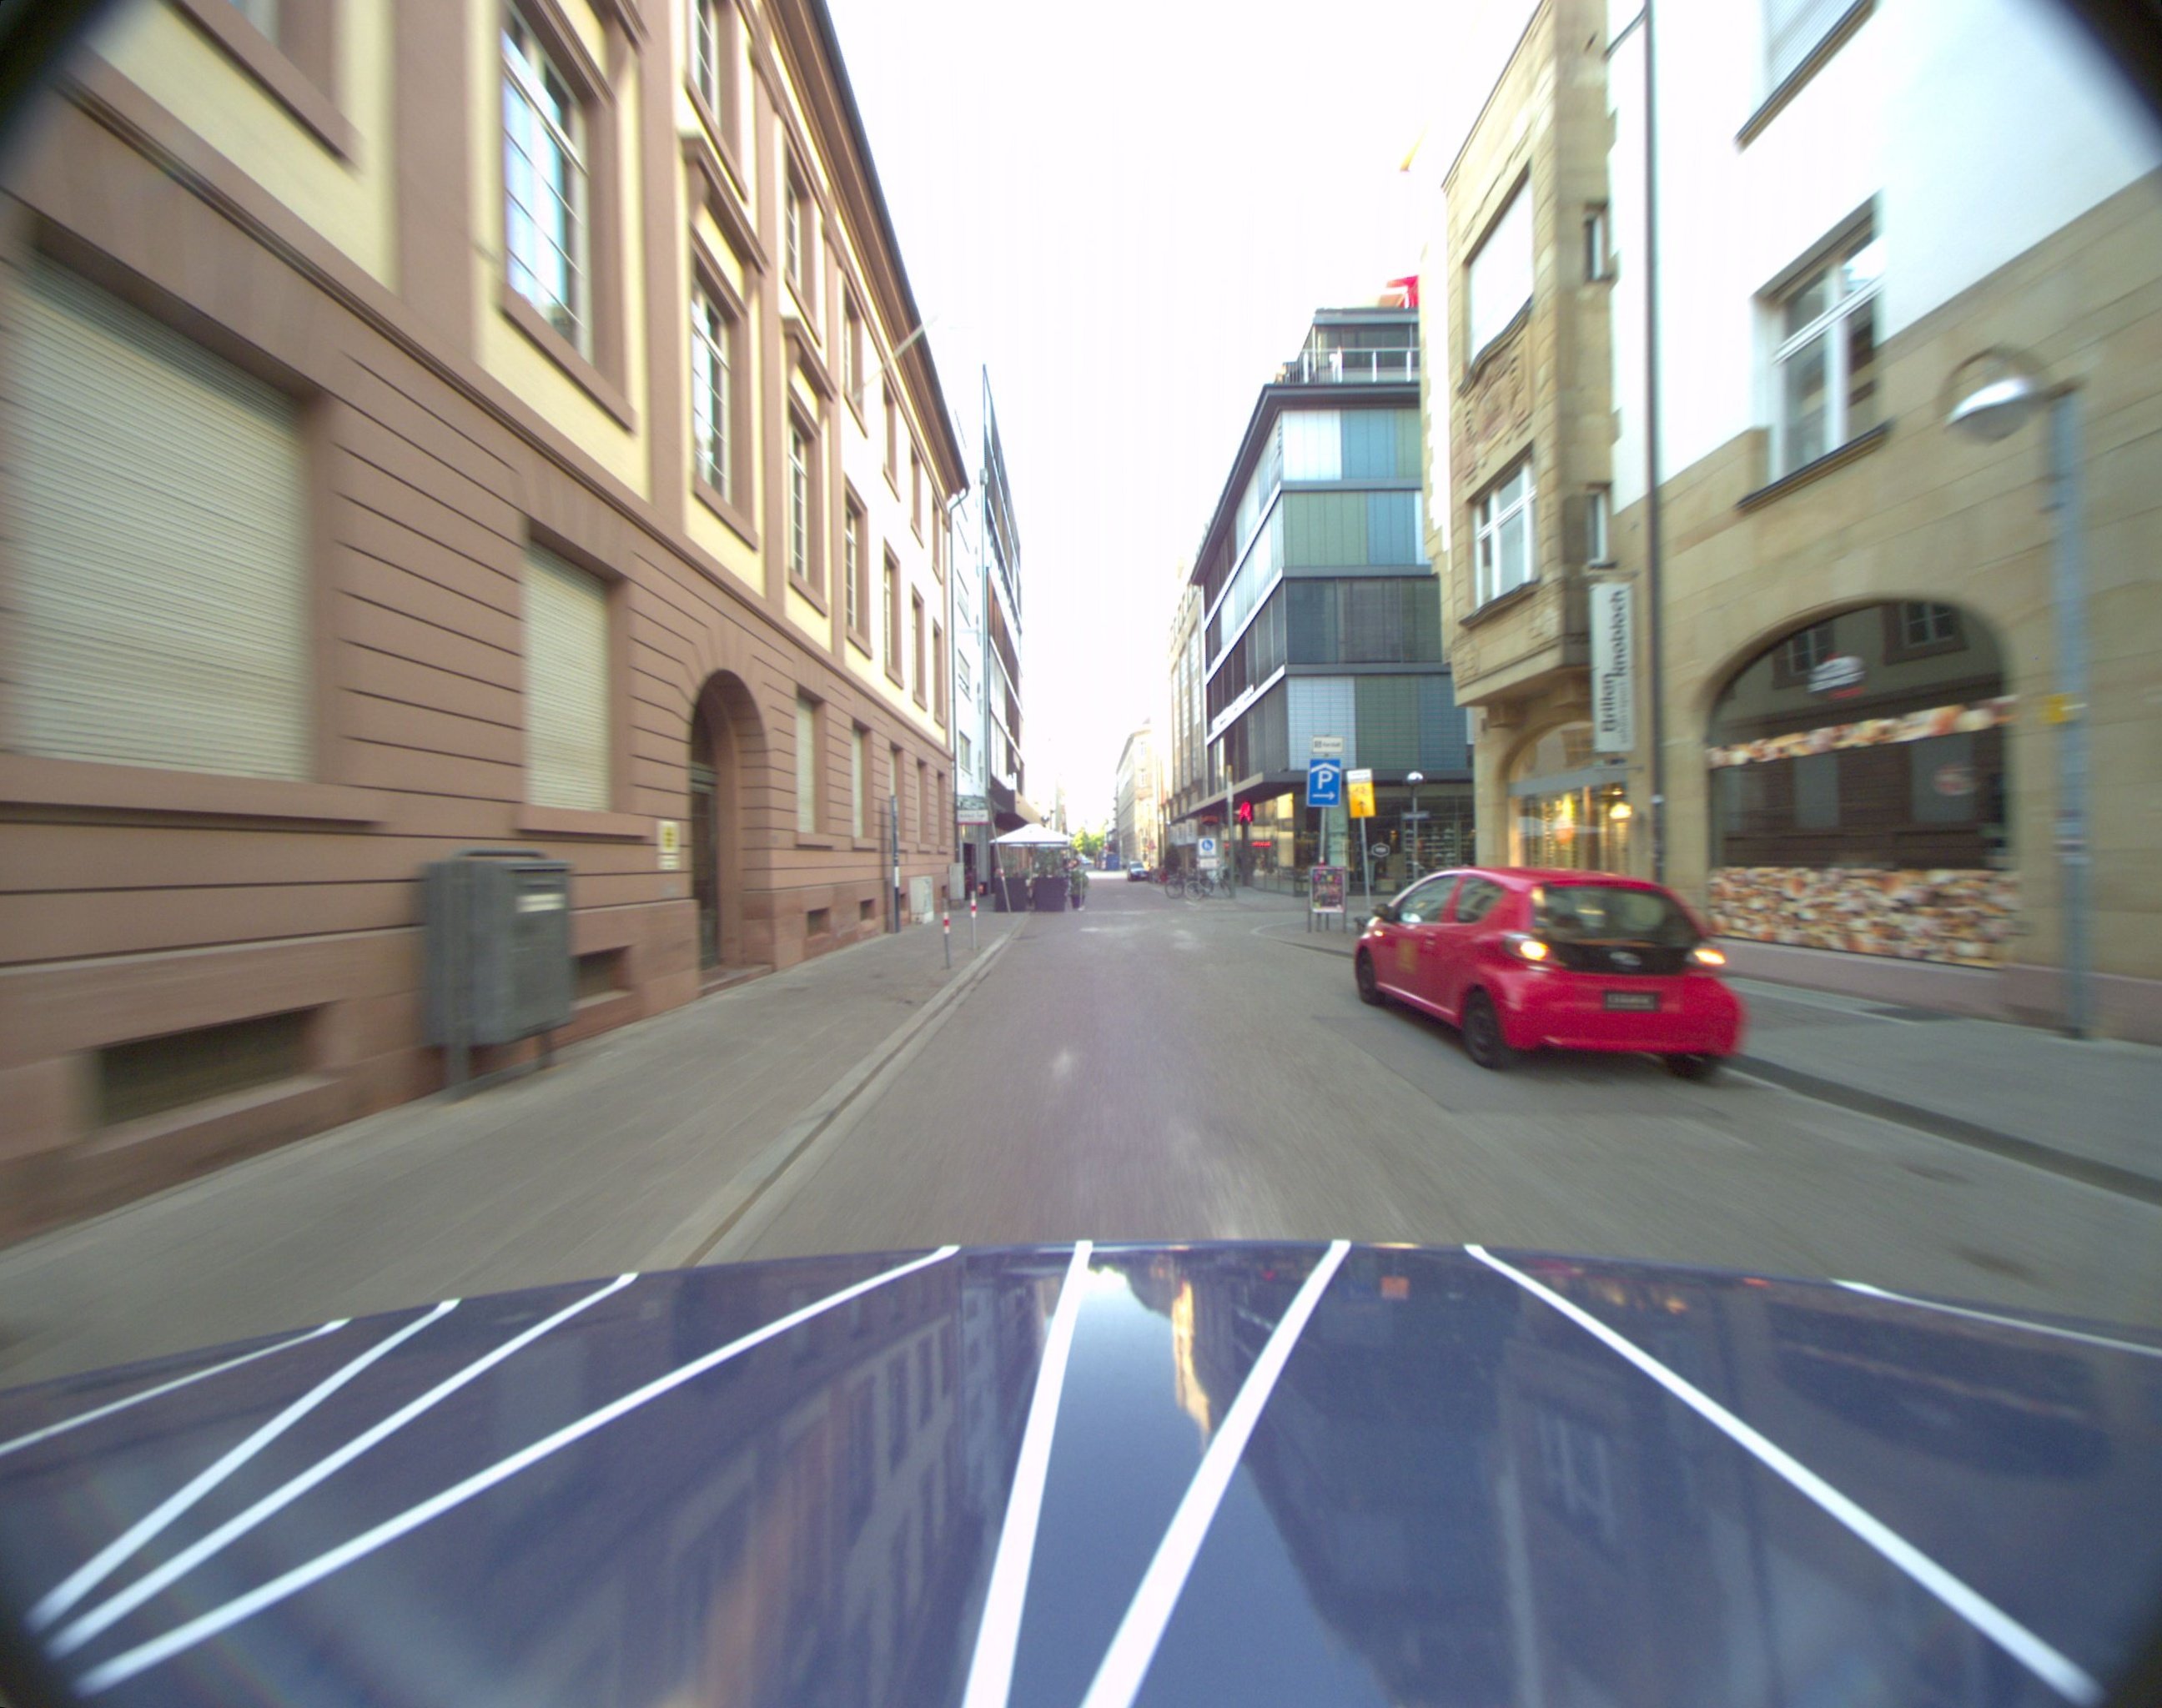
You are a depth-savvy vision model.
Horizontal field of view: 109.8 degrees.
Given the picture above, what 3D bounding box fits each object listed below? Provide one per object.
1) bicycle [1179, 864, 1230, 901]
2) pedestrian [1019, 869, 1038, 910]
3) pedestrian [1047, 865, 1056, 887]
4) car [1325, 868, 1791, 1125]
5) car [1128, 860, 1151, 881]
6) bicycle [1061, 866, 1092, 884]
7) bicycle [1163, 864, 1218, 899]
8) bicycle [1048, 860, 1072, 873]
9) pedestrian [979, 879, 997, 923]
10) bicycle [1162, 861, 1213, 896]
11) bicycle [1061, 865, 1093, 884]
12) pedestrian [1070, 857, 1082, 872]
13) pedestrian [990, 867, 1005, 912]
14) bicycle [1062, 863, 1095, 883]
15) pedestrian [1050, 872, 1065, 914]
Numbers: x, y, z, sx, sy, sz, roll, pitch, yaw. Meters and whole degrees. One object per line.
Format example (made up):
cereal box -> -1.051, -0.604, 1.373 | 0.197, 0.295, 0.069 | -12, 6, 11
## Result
bicycle -> 4.369, 0.996, 26.872 | 1.670, 1.197, 0.509 | -3, 0, 0
pedestrian -> -1.853, 1.259, 27.141 | 0.575, 1.411, 0.868 | -1, 0, 1
pedestrian -> -2.847, 2.099, 72.958 | 0.805, 2.002, 0.878 | -2, 0, -7
car -> 3.611, 0.928, 6.725 | 1.661, 1.461, 3.932 | 1, 1, 1
car -> 4.246, 1.158, 55.294 | 1.602, 1.414, 3.605 | -1, 0, 4
bicycle -> -0.283, 1.376, 50.199 | 2.038, 1.161, 0.619 | -1, 0, -1
bicycle -> 4.082, 1.040, 28.382 | 1.902, 1.174, 0.517 | -4, -1, -1
bicycle -> -2.164, 1.269, 78.070 | 2.341, 1.182, 0.517 | -2, 0, -16
pedestrian -> -3.807, 1.914, 31.152 | 0.640, 1.762, 0.602 | -1, 0, -5
bicycle -> 4.341, 1.011, 31.057 | 1.902, 1.262, 0.538 | -5, 0, 1
bicycle -> -0.237, 1.312, 48.977 | 2.038, 1.161, 0.619 | -1, 0, -1
pedestrian -> -0.532, 1.154, 82.125 | 0.917, 1.563, 0.995 | -1, 1, 44
pedestrian -> -2.459, 1.032, 22.379 | 0.363, 1.298, 0.494 | -1, 0, -14
bicycle -> -0.164, 1.205, 47.565 | 2.038, 1.161, 0.665 | 2, 0, -1
pedestrian -> -0.697, 1.141, 22.444 | 0.400, 1.206, 0.383 | -1, 0, -9
